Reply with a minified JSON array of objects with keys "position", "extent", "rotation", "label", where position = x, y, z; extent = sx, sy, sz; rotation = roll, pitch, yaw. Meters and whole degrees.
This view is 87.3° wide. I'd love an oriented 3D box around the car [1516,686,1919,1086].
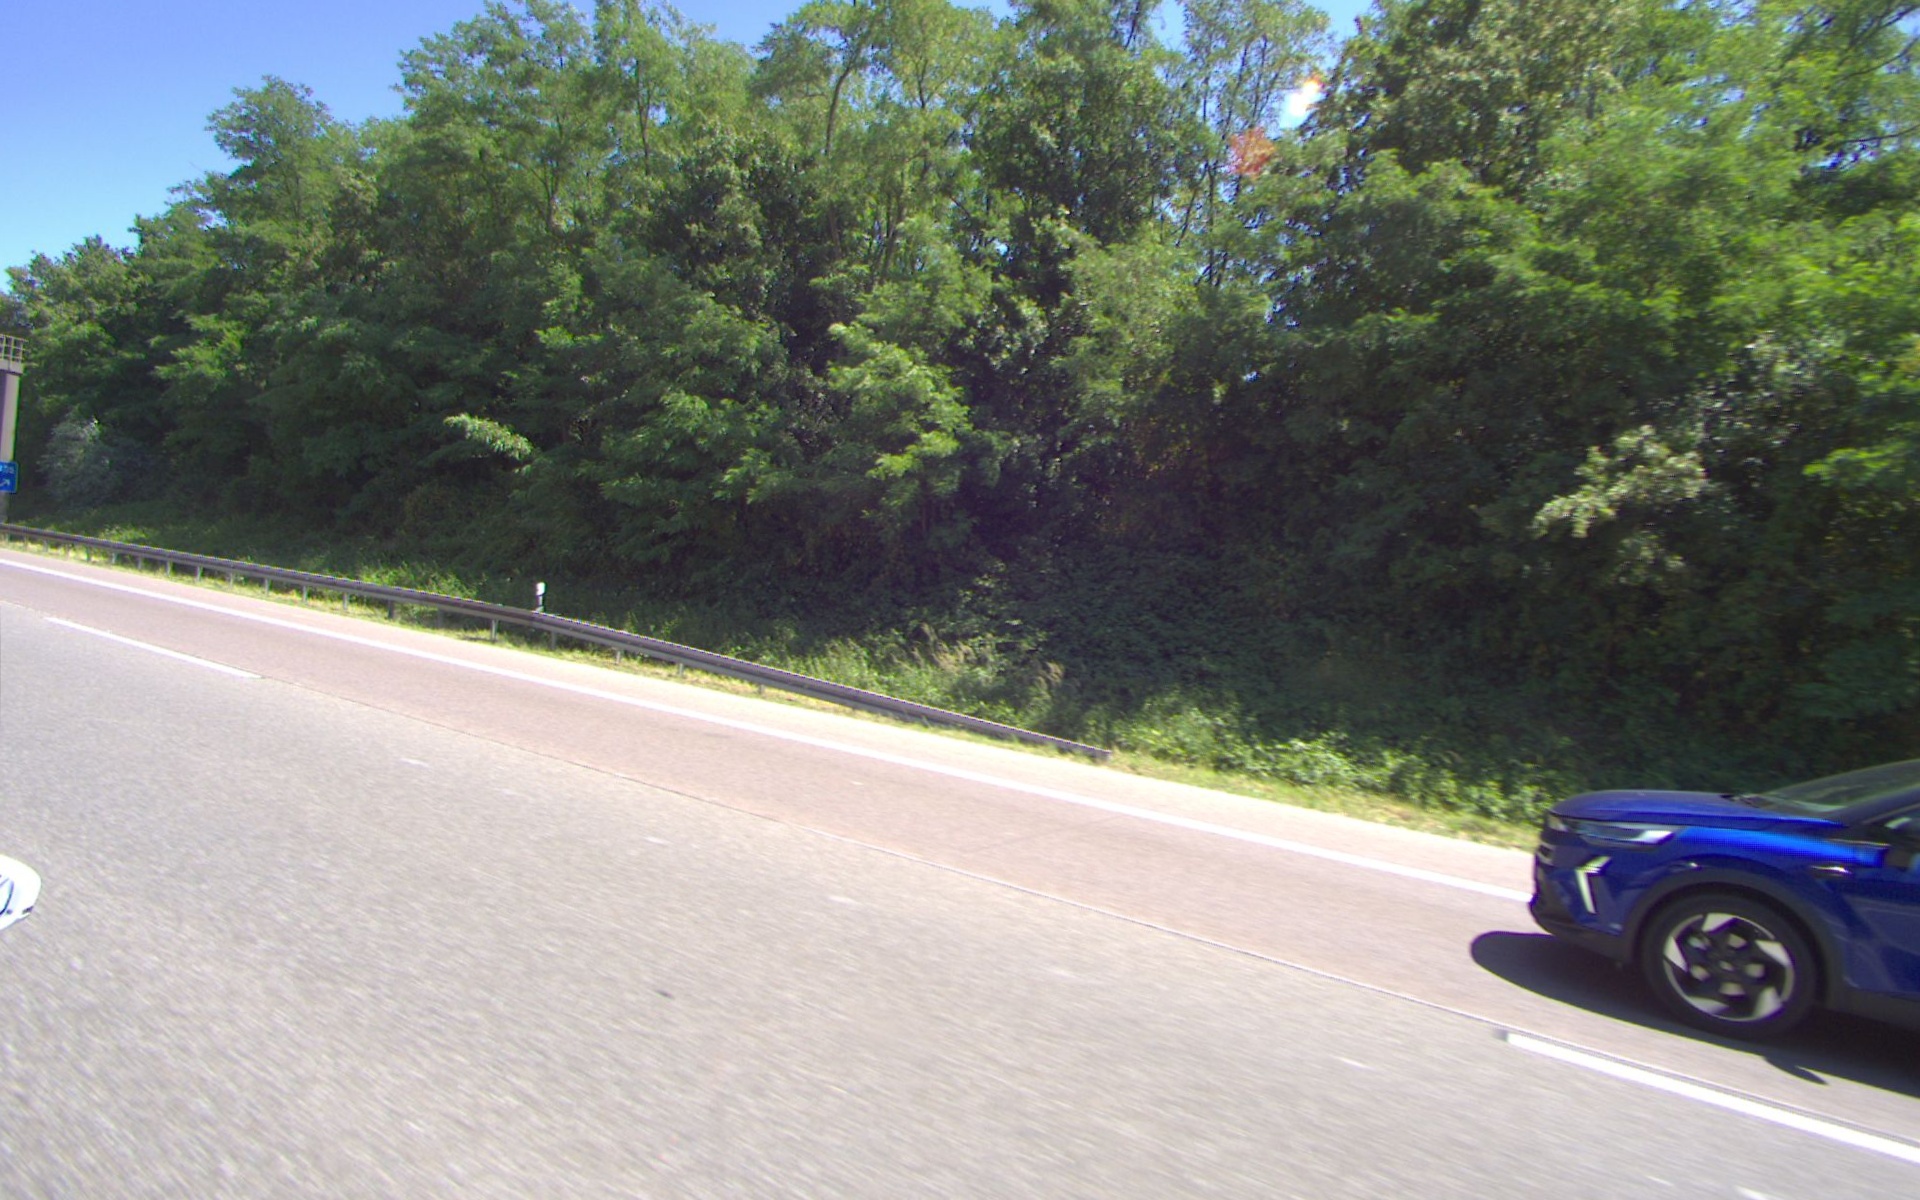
[{"position":[5.247,1.512,5.028],"extent":[4.132,1.574,1.874],"rotation":[6,-2,32],"label":"car"}]
